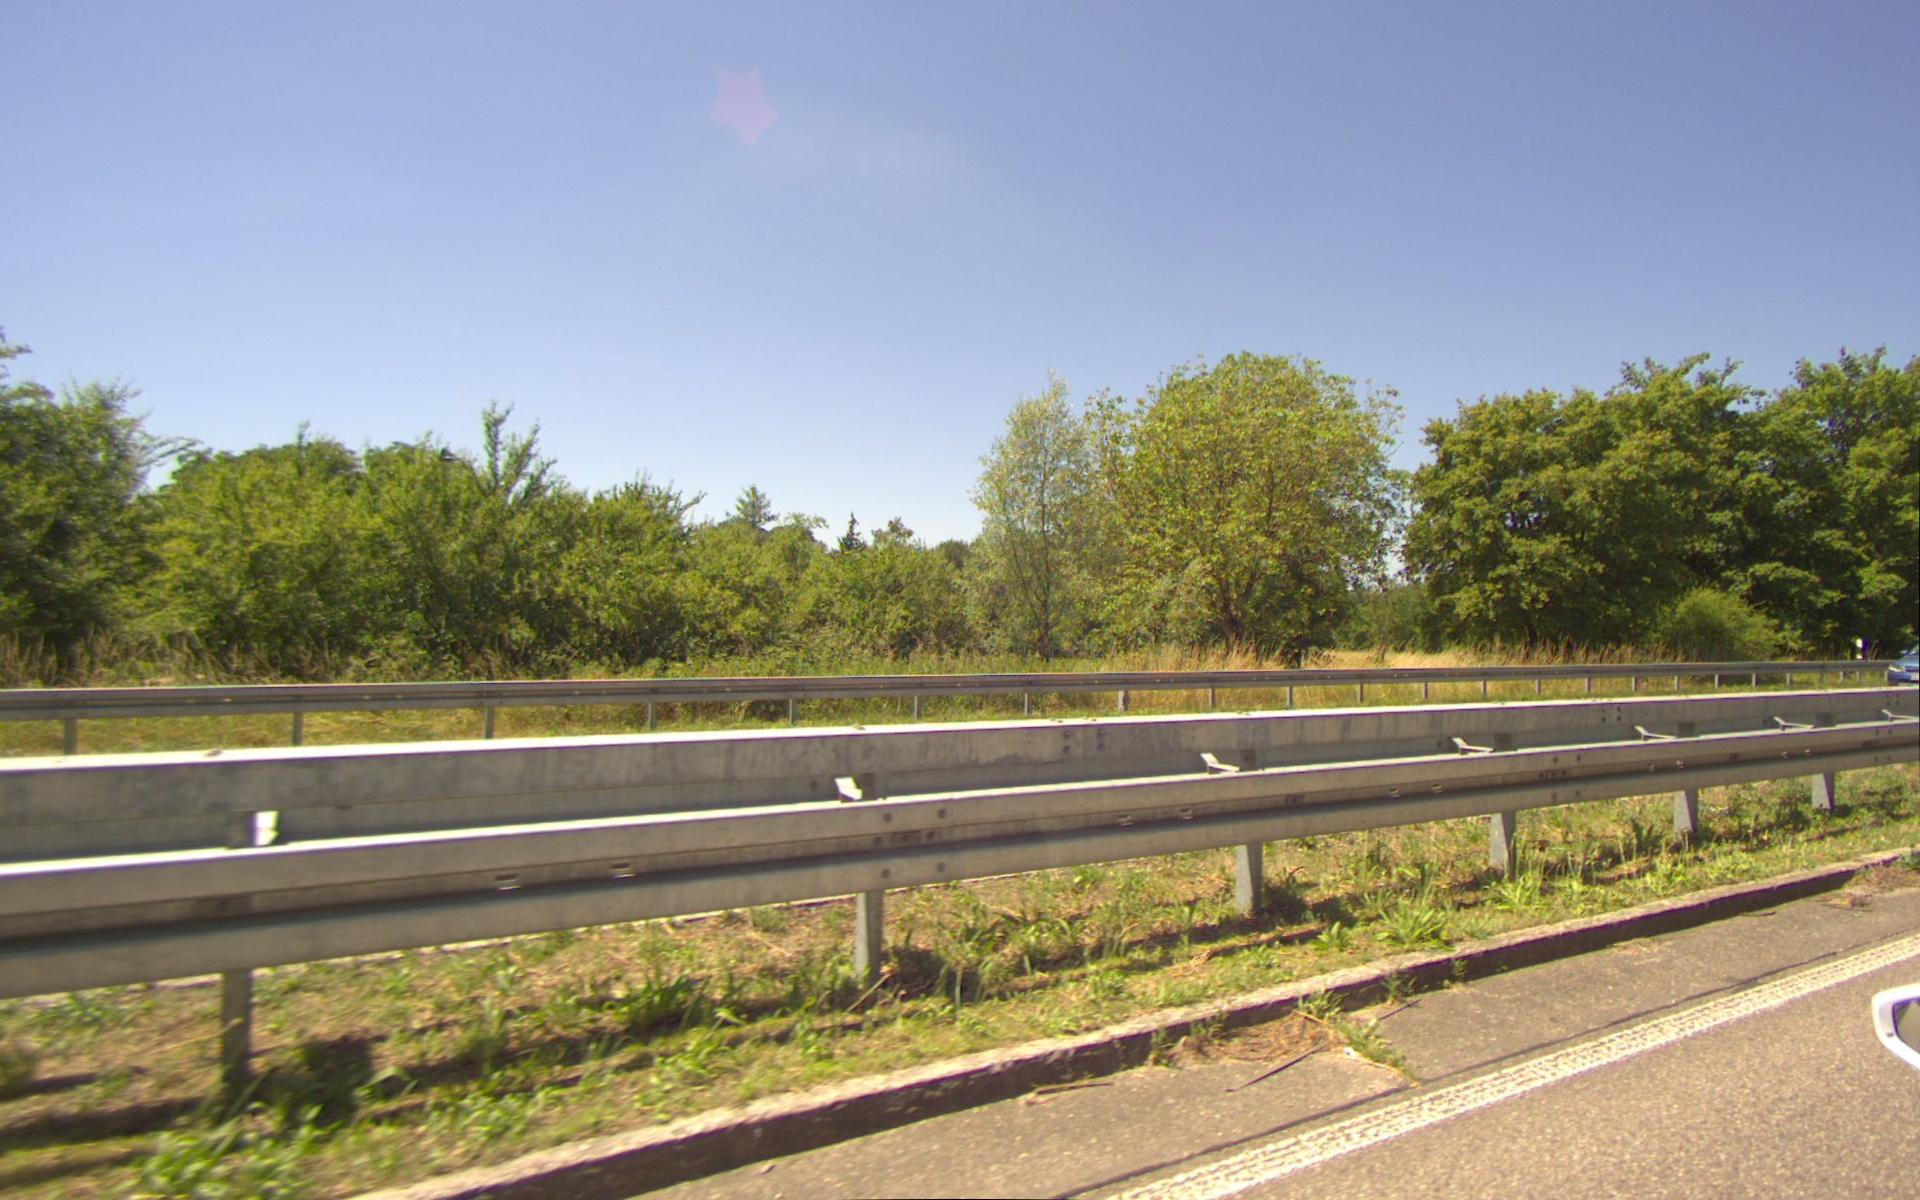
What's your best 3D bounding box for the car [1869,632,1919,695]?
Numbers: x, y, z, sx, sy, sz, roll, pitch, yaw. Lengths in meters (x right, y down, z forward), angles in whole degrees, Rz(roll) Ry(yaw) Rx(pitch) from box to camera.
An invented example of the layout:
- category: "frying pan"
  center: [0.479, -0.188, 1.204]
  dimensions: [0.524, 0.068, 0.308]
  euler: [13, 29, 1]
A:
- category: "car"
  center: [26.120, 1.645, 26.409]
  dimensions: [4.868, 1.563, 1.805]
  euler: [1, -2, -29]
